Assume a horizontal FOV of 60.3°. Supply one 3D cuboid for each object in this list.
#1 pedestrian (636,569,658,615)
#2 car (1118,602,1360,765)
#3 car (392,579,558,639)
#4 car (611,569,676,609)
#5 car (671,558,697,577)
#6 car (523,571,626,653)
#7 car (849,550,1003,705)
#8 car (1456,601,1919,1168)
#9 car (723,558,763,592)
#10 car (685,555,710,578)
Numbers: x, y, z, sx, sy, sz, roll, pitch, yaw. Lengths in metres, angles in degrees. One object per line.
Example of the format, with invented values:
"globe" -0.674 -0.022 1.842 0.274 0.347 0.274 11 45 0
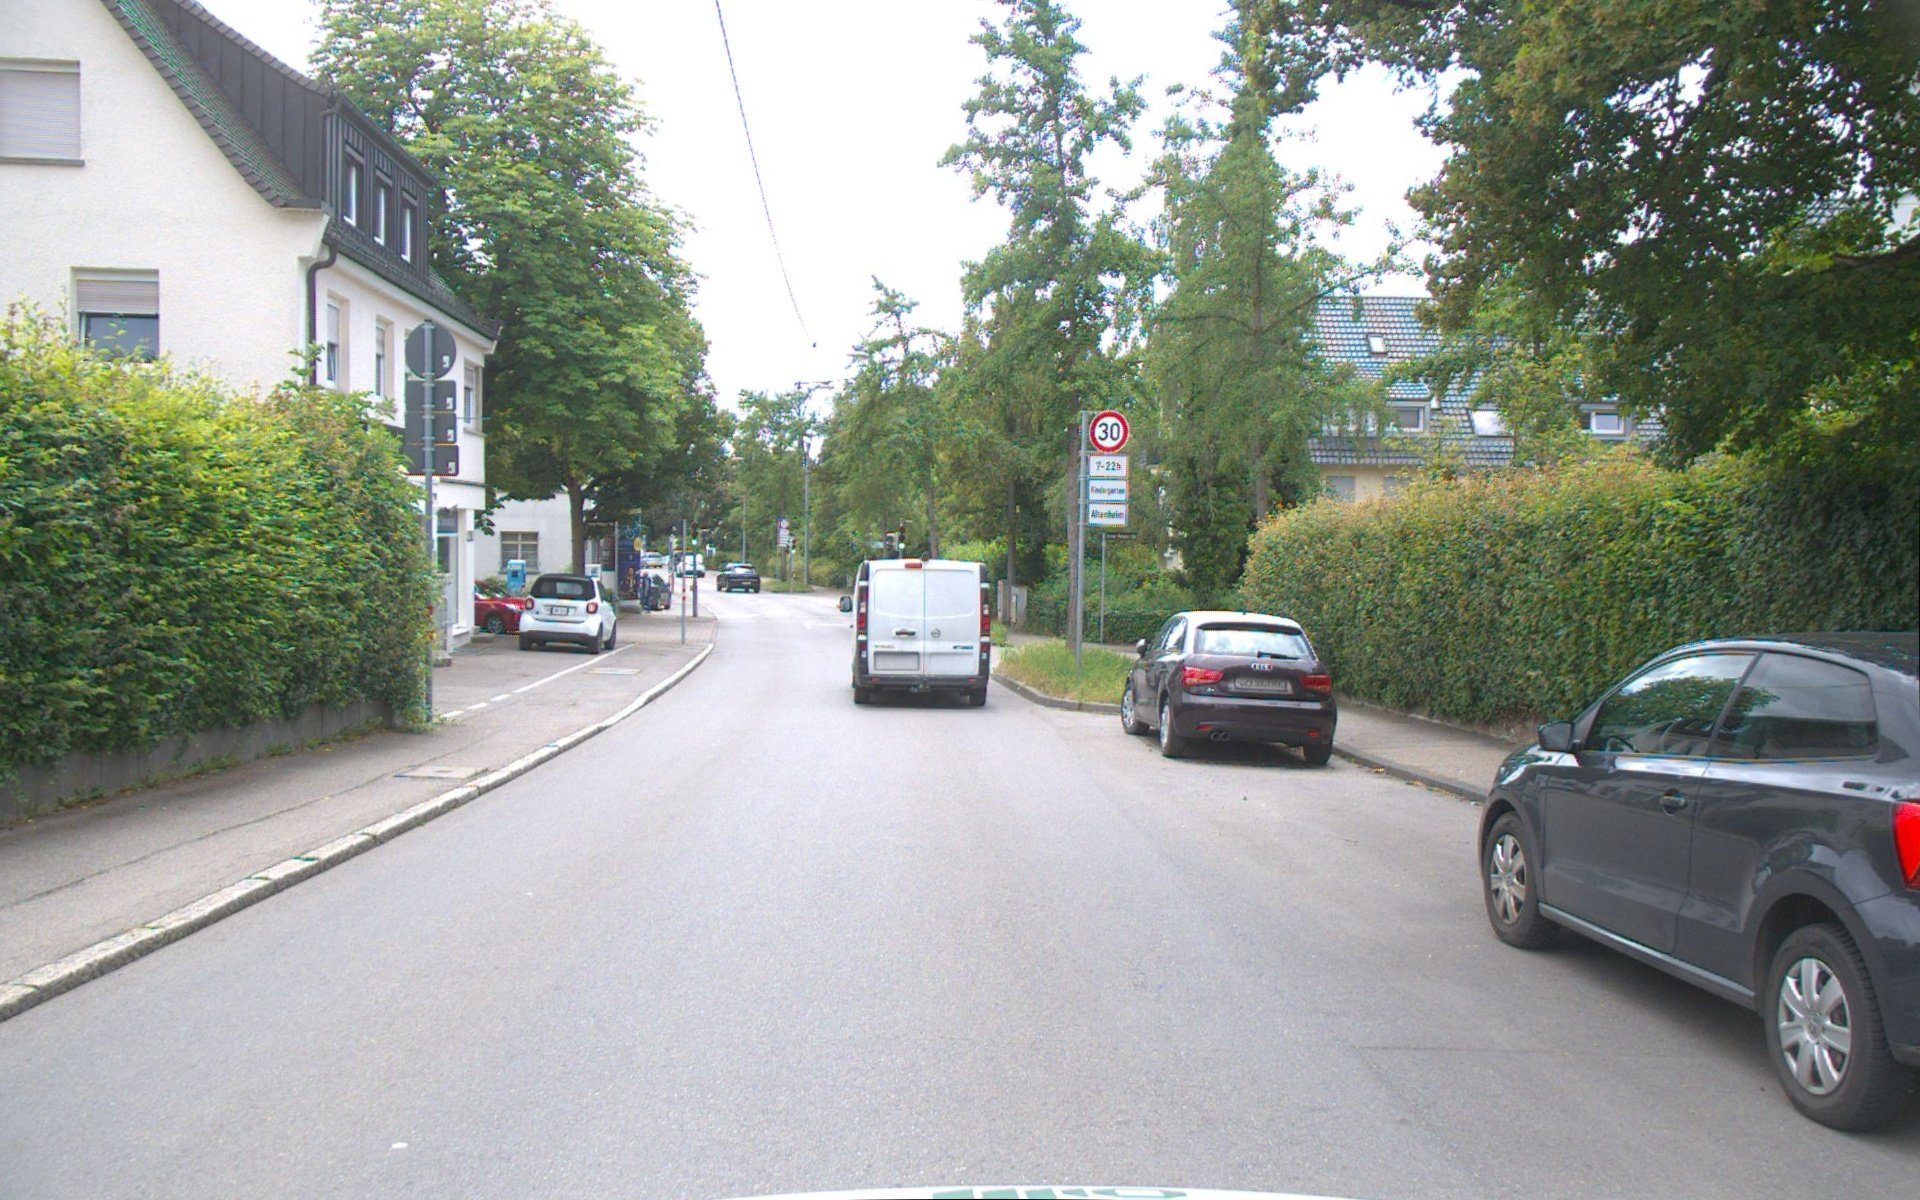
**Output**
"pedestrian" -11.419 -0.294 60.271 0.684 1.644 0.715 1 2 -4
"car" 2.800 0.791 17.410 1.676 1.437 3.788 3 0 -3
"car" -13.403 0.222 45.735 4.133 1.457 1.817 1 4 22
"car" -12.719 -0.435 66.676 1.743 1.466 4.525 2 0 -1
"car" -25.668 -3.046 153.766 1.863 1.639 4.480 1 1 -16
"car" -8.041 0.212 34.691 1.557 1.565 2.921 3 1 -4
"car" -0.592 0.324 23.848 1.892 1.998 4.397 1 1 -5
"car" 3.366 0.790 6.237 1.675 1.513 3.788 1 0 -3
"car" -12.506 -1.467 95.116 1.863 1.892 4.391 1 1 -12
"car" -20.267 -2.589 127.536 1.792 1.758 3.990 1 1 -11
